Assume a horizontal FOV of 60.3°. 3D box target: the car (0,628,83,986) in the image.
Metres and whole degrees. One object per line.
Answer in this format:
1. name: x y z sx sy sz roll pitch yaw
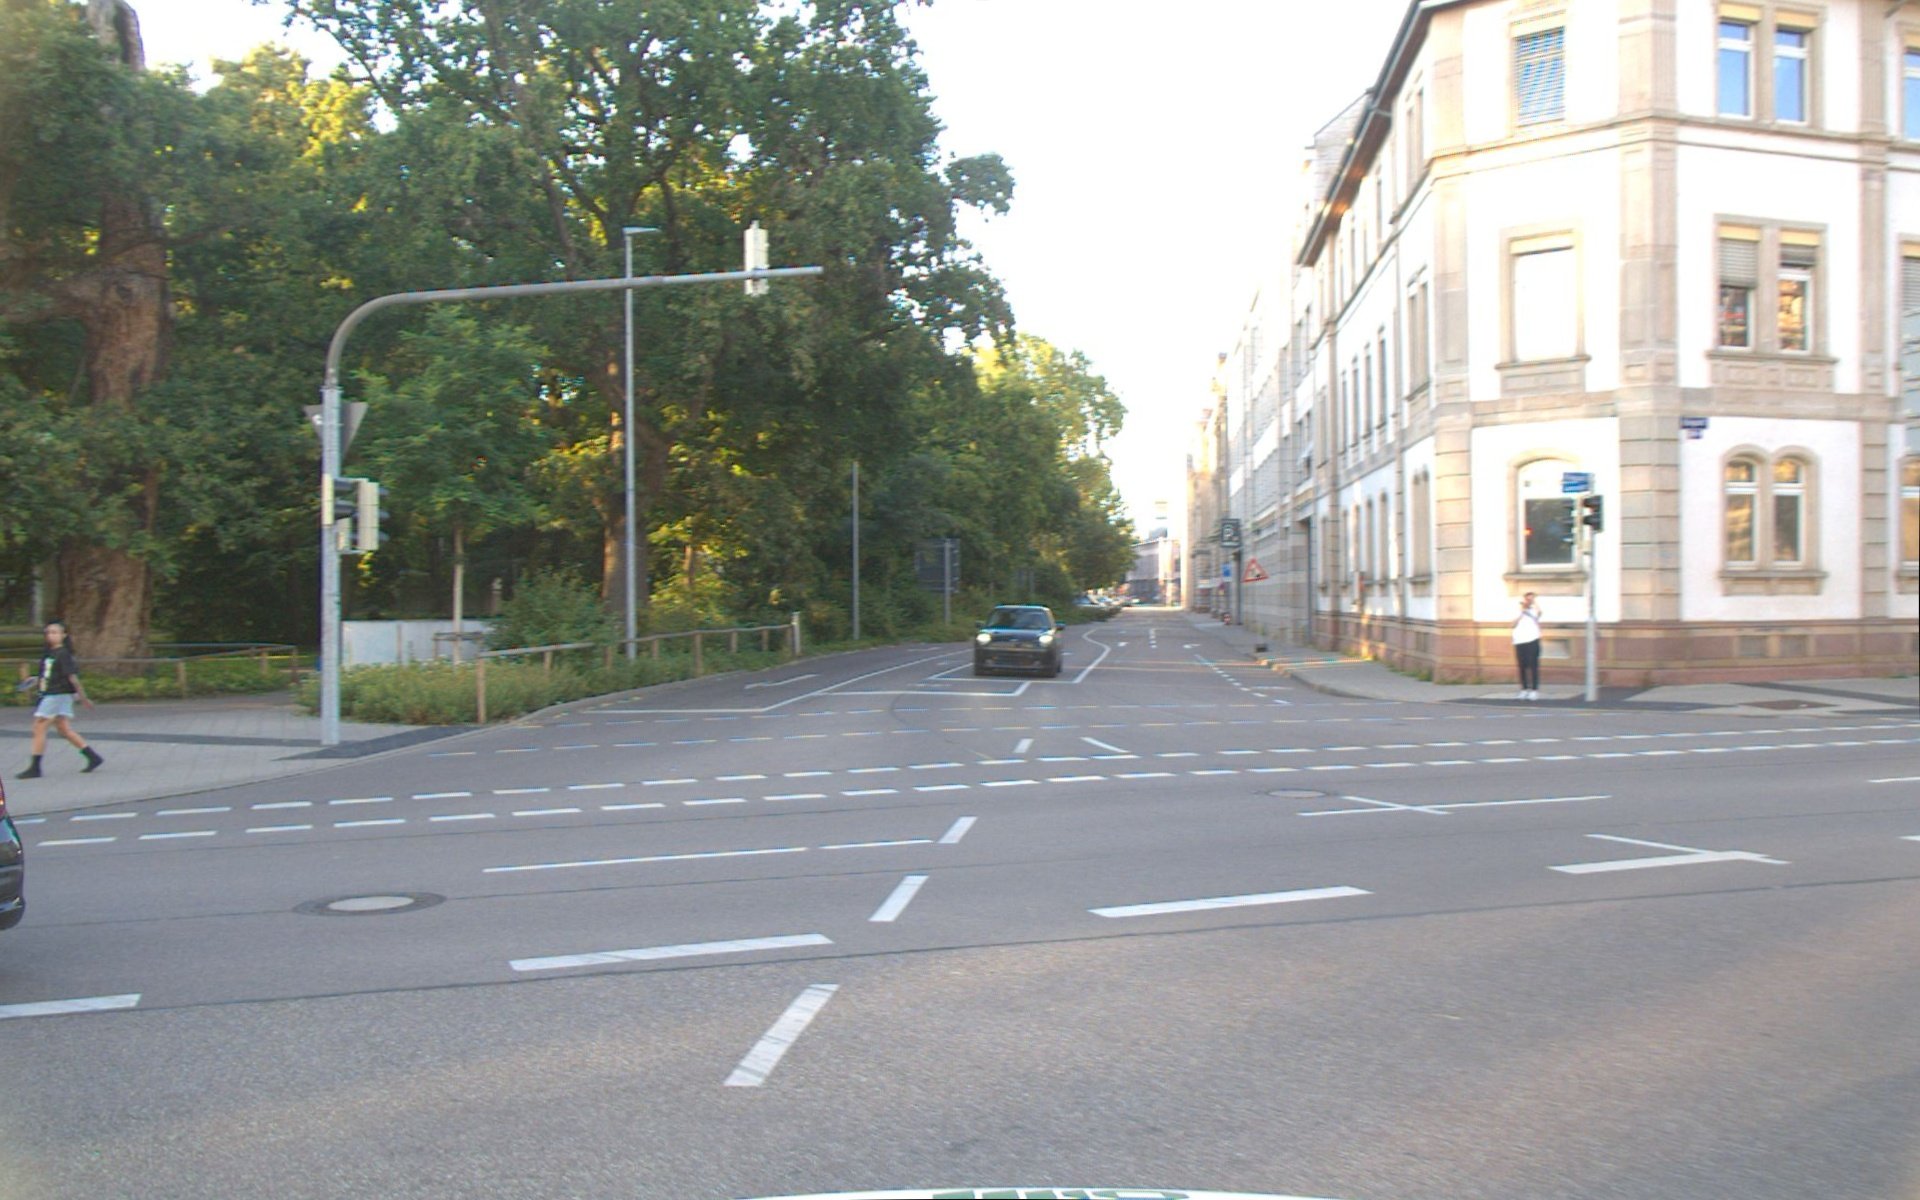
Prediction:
1. car: -5.924 0.894 7.213 3.810 1.475 1.724 -1 0 24

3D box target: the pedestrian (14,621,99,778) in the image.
1. pedestrian: -9.105 0.990 16.682 0.606 1.530 0.578 -1 0 -14

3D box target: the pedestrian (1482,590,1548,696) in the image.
1. pedestrian: 8.976 0.683 26.762 0.630 1.685 0.807 -1 0 -39

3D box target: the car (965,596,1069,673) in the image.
1. car: 1.267 0.697 35.098 1.785 1.543 3.579 0 0 9
